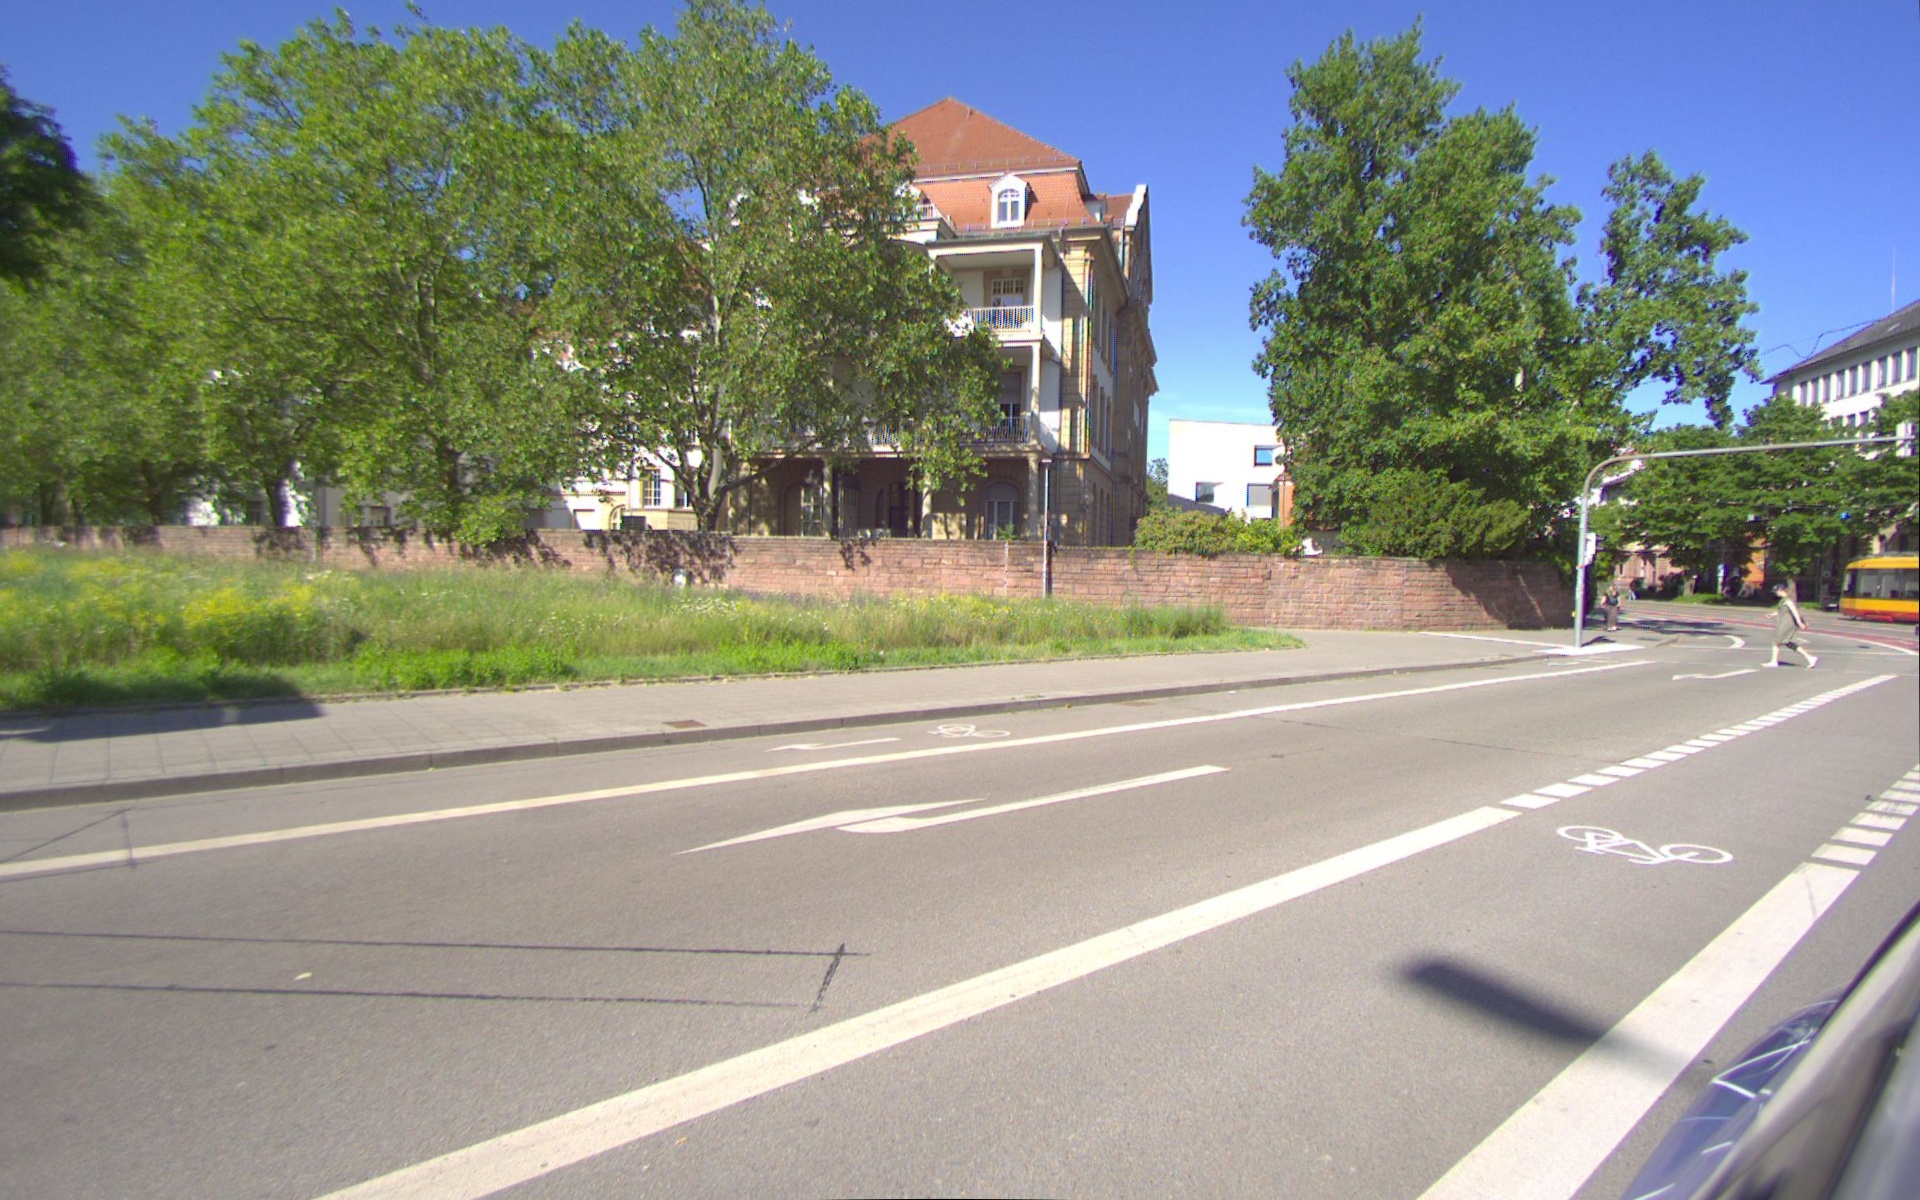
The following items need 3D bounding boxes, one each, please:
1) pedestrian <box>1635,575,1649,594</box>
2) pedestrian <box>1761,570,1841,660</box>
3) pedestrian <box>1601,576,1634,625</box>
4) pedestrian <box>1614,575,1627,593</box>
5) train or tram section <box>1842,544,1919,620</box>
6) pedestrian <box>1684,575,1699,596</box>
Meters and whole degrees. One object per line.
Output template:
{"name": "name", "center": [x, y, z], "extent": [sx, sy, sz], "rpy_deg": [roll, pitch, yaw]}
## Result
{"name": "pedestrian", "center": [65.635, -1.517, 97.410], "extent": [0.745, 1.835, 0.978], "rpy_deg": [1, 1, 9]}
{"name": "pedestrian", "center": [18.453, 0.300, 22.236], "extent": [1.222, 1.878, 0.817], "rpy_deg": [2, 2, 36]}
{"name": "pedestrian", "center": [24.422, 0.004, 37.583], "extent": [0.935, 1.742, 0.983], "rpy_deg": [2, 2, 37]}
{"name": "pedestrian", "center": [69.098, -1.656, 105.910], "extent": [0.745, 1.835, 0.978], "rpy_deg": [1, 1, 10]}
{"name": "train or tram section", "center": [47.202, -0.826, 47.798], "extent": [2.760, 3.645, 12.488], "rpy_deg": [2, 2, 13]}
{"name": "pedestrian", "center": [67.442, -1.344, 93.282], "extent": [0.743, 1.836, 0.980], "rpy_deg": [4, -3, -35]}
